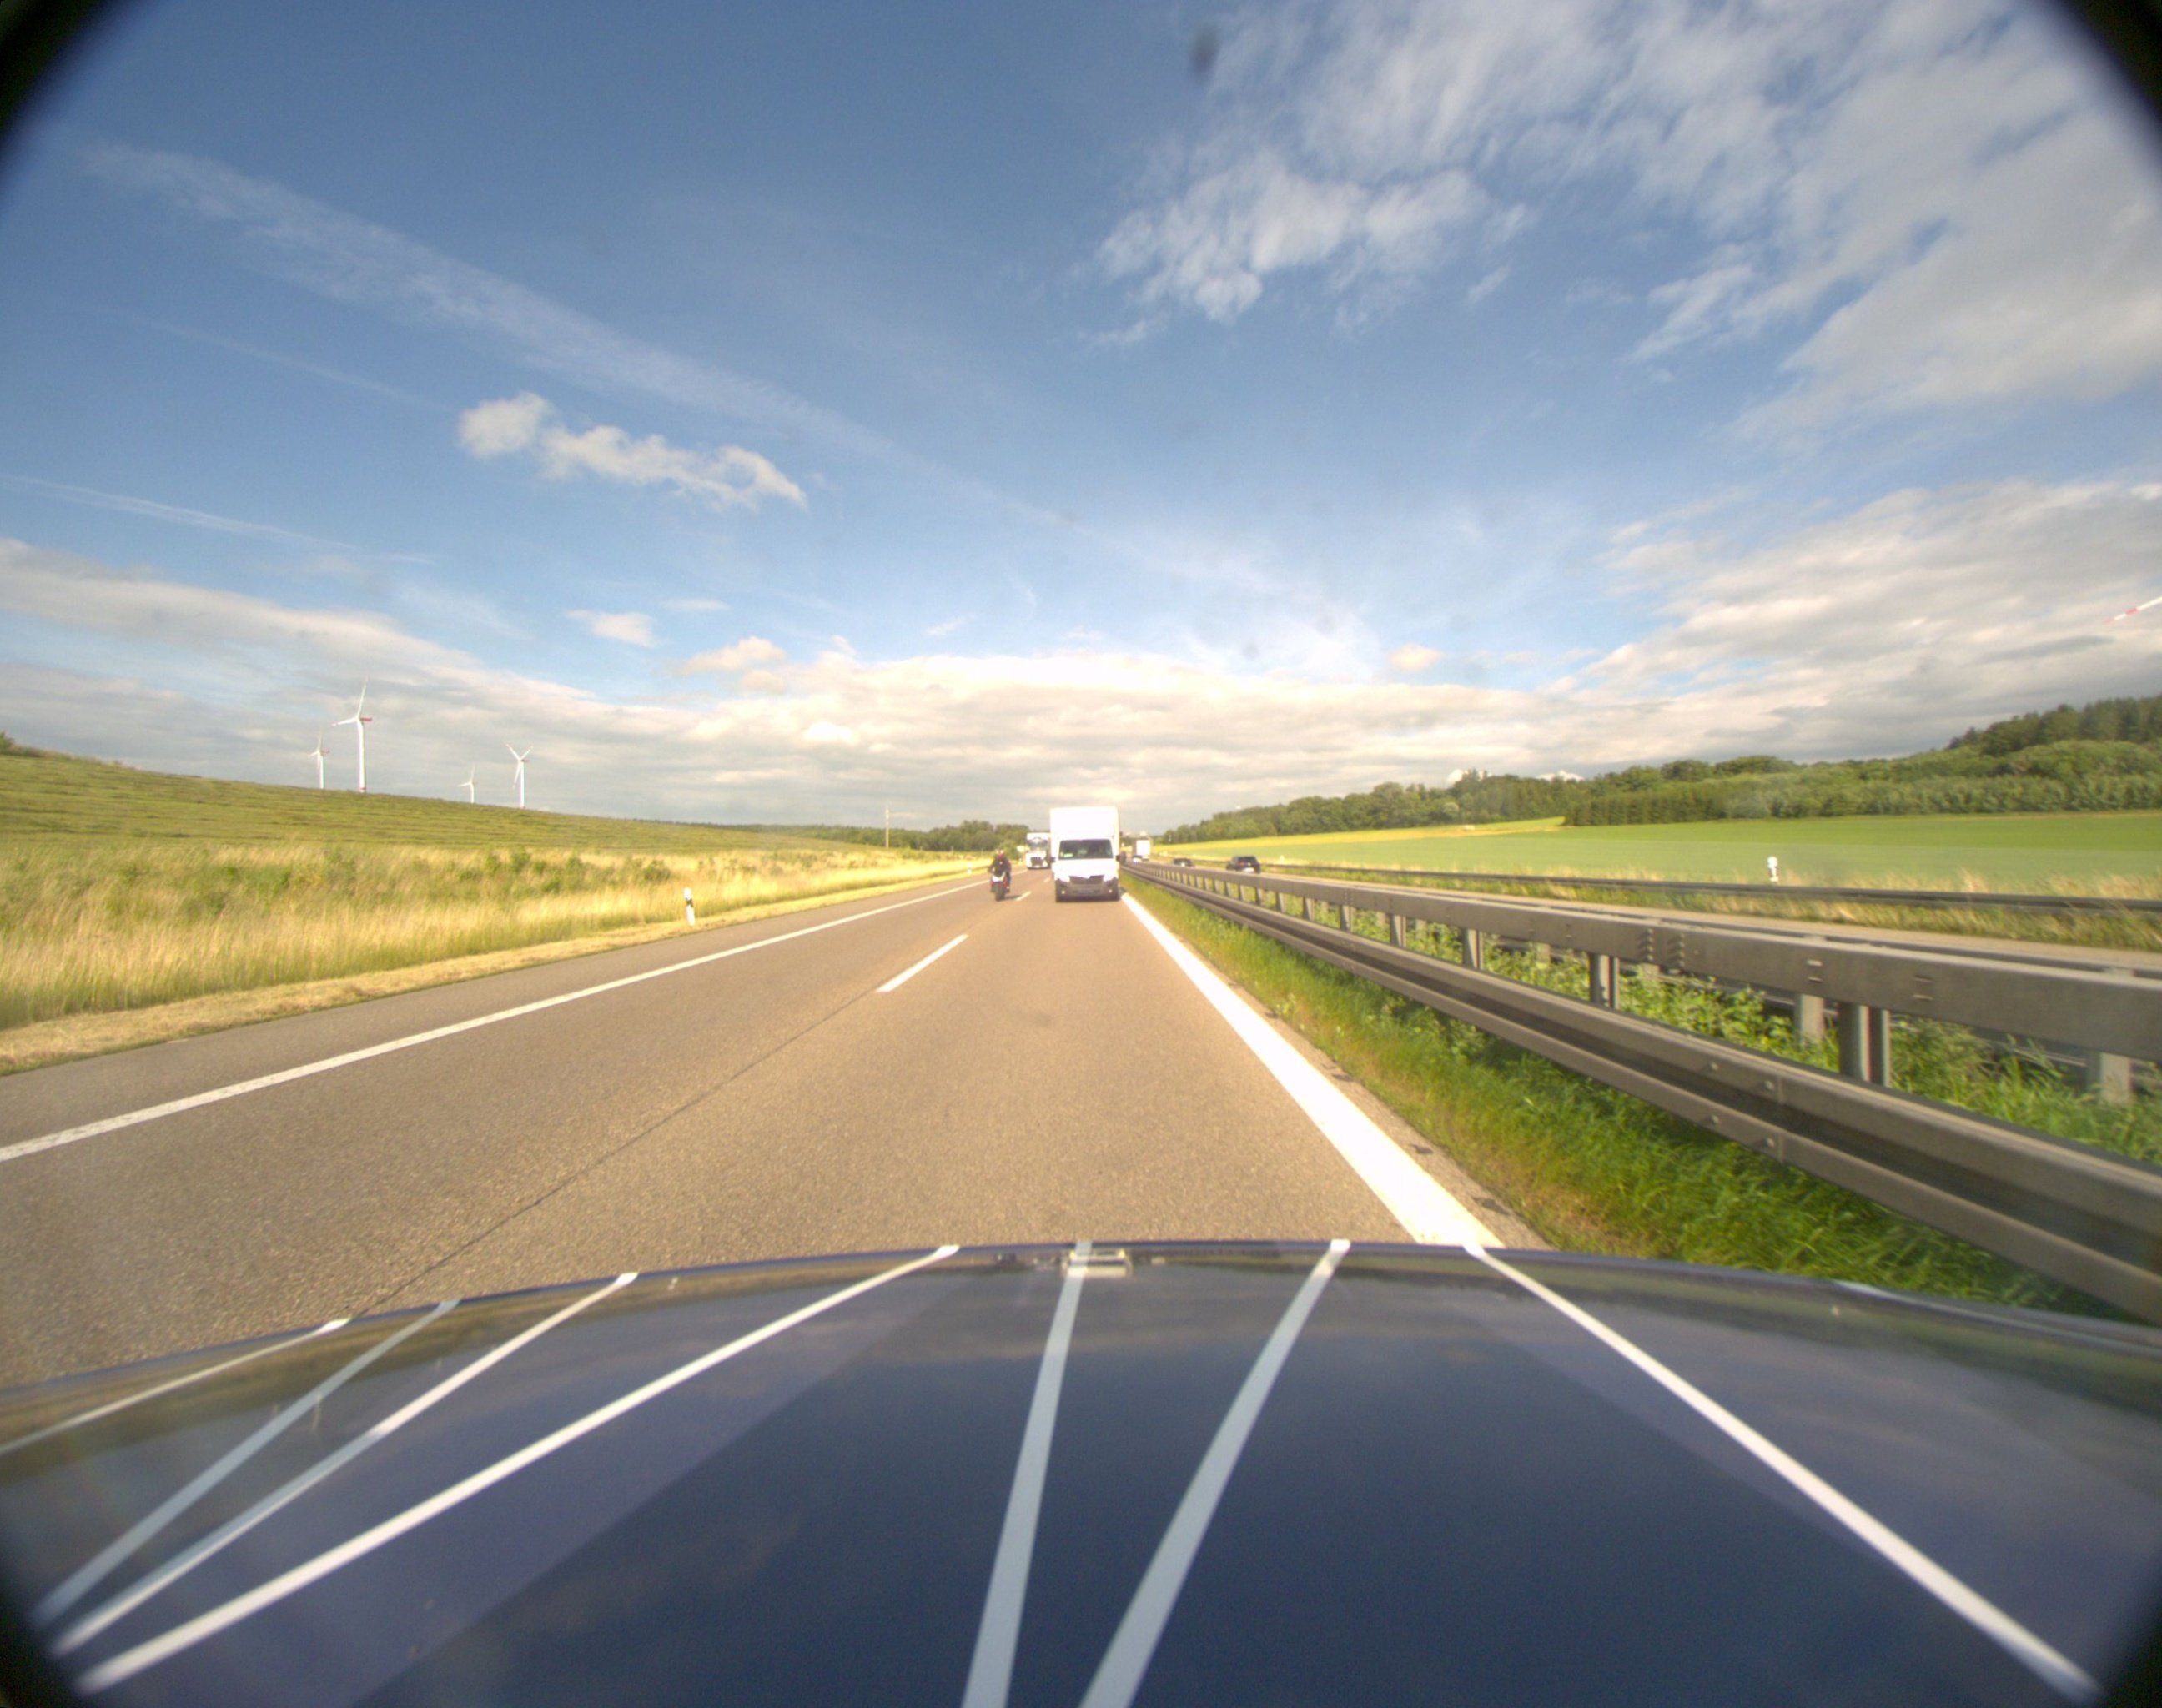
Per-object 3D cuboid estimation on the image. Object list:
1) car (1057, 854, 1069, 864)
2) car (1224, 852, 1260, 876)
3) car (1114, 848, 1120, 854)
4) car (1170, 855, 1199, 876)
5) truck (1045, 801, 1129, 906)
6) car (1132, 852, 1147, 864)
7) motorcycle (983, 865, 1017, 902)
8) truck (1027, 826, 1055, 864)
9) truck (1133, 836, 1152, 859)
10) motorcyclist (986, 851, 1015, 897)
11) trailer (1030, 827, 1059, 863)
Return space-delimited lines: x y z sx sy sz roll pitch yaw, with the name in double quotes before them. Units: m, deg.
"car" -2.990 0.831 125.985 1.871 1.409 4.461 -2 1 0
"car" 11.345 0.676 53.642 1.619 1.512 3.999 -2 1 0
"car" 10.617 -0.948 223.721 1.684 1.576 4.214 -2 1 0
"car" 7.825 0.854 57.619 1.619 1.384 3.999 -2 1 0
"truck" 0.157 -0.008 29.075 2.502 3.141 11.162 -2 0 0
"car" 8.013 0.518 103.885 1.619 1.576 4.064 -2 1 0
"motorcycle" -2.797 1.006 26.610 0.898 1.183 2.256 -2 1 0
"truck" -4.460 -0.987 86.198 2.607 4.017 6.119 -3 0 1
"truck" 12.883 -1.465 159.724 2.887 4.608 13.421 -2 1 0
"motorcyclist" -2.809 0.697 26.649 0.852 1.551 0.934 -2 1 0
"trailer" -4.368 -1.030 93.922 2.623 4.017 13.698 -3 0 1
